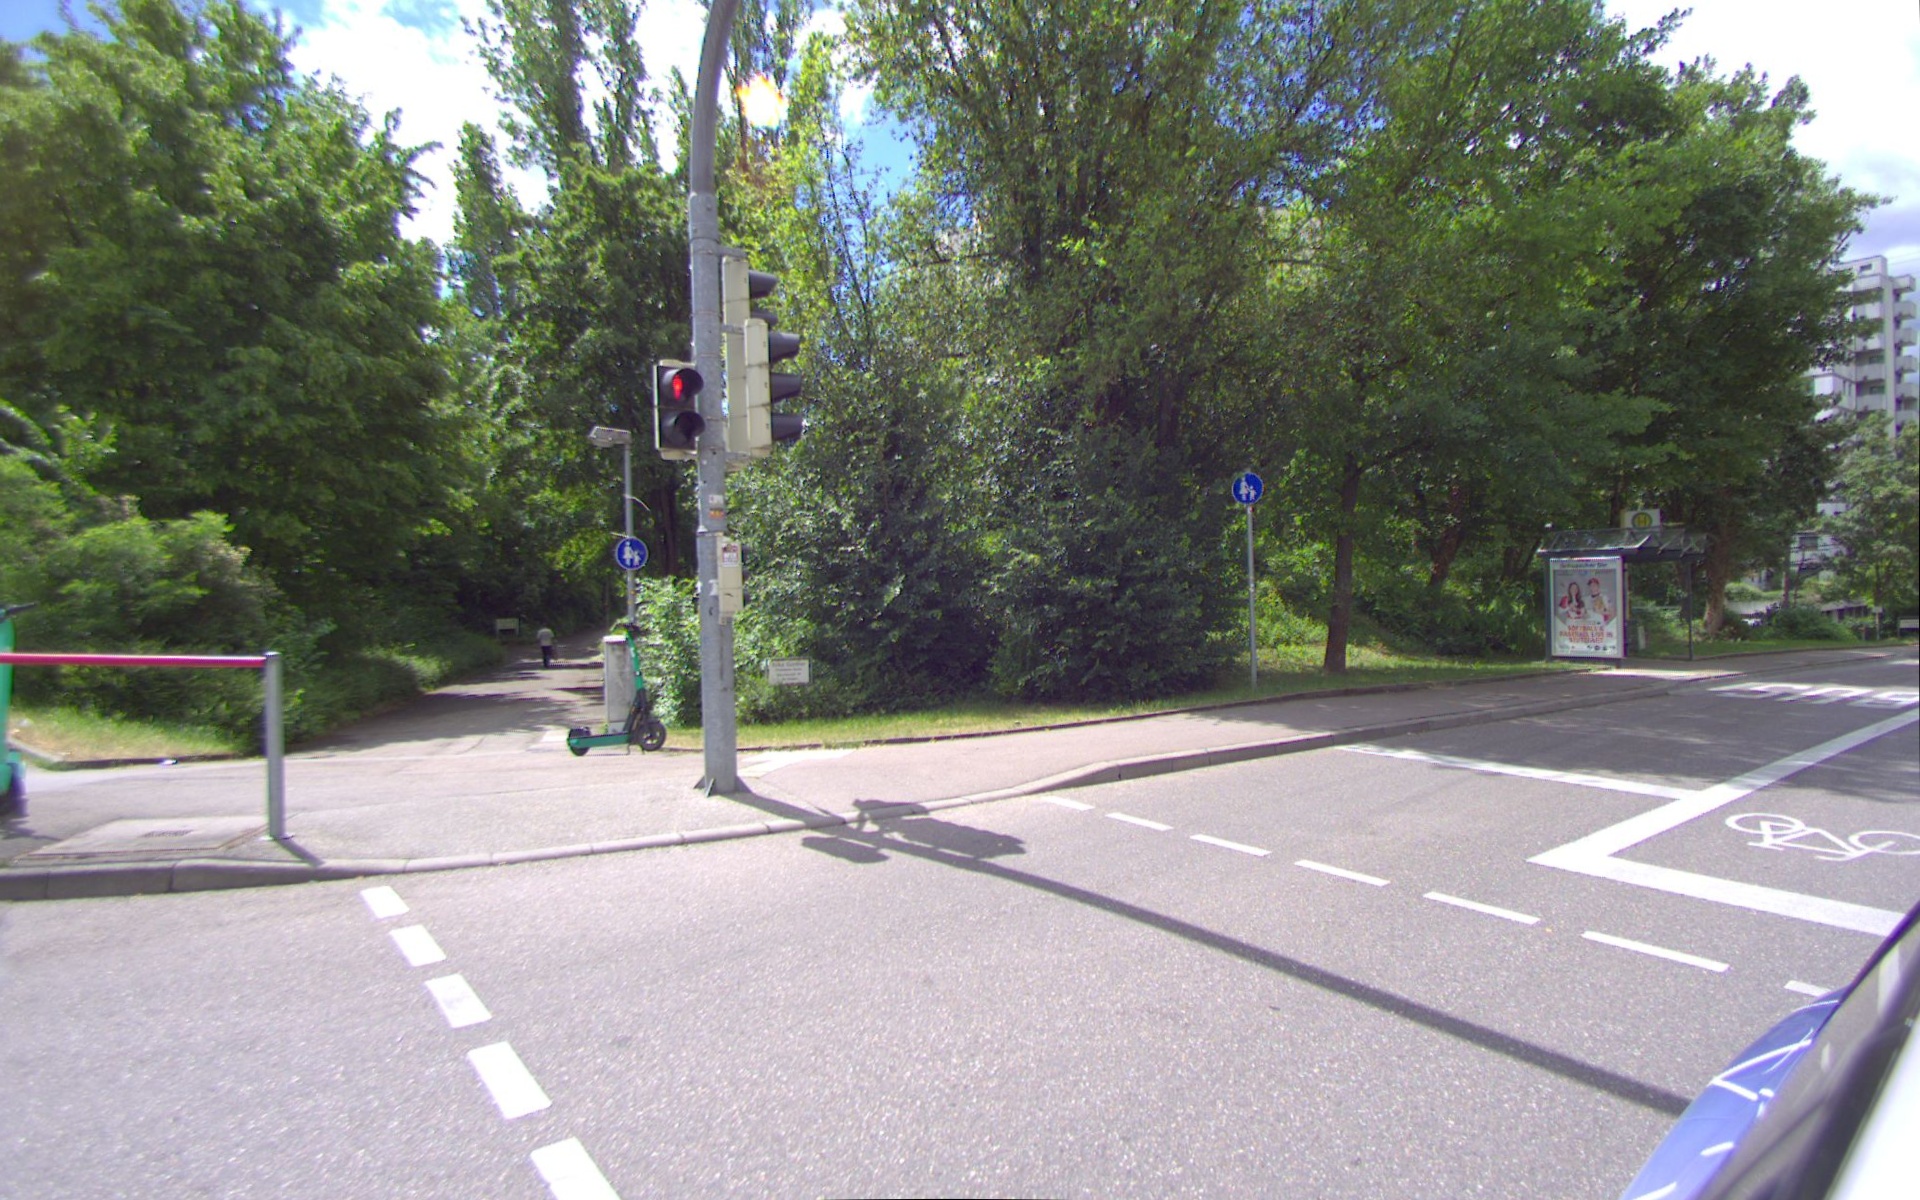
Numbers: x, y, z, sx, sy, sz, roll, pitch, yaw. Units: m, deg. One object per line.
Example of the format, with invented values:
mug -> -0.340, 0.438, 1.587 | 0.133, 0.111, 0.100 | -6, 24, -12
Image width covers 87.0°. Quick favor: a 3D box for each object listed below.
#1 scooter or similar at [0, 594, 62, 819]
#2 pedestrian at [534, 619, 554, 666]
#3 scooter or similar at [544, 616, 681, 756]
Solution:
scooter or similar -> -5.619, 0.573, 5.904 | 0.440, 1.210, 1.171 | 0, 0, -35
pedestrian -> -15.758, 1.607, 38.366 | 0.647, 1.723, 0.839 | 0, 0, -19
scooter or similar -> -3.424, 0.850, 9.986 | 1.194, 1.310, 0.532 | -3, -5, 17
